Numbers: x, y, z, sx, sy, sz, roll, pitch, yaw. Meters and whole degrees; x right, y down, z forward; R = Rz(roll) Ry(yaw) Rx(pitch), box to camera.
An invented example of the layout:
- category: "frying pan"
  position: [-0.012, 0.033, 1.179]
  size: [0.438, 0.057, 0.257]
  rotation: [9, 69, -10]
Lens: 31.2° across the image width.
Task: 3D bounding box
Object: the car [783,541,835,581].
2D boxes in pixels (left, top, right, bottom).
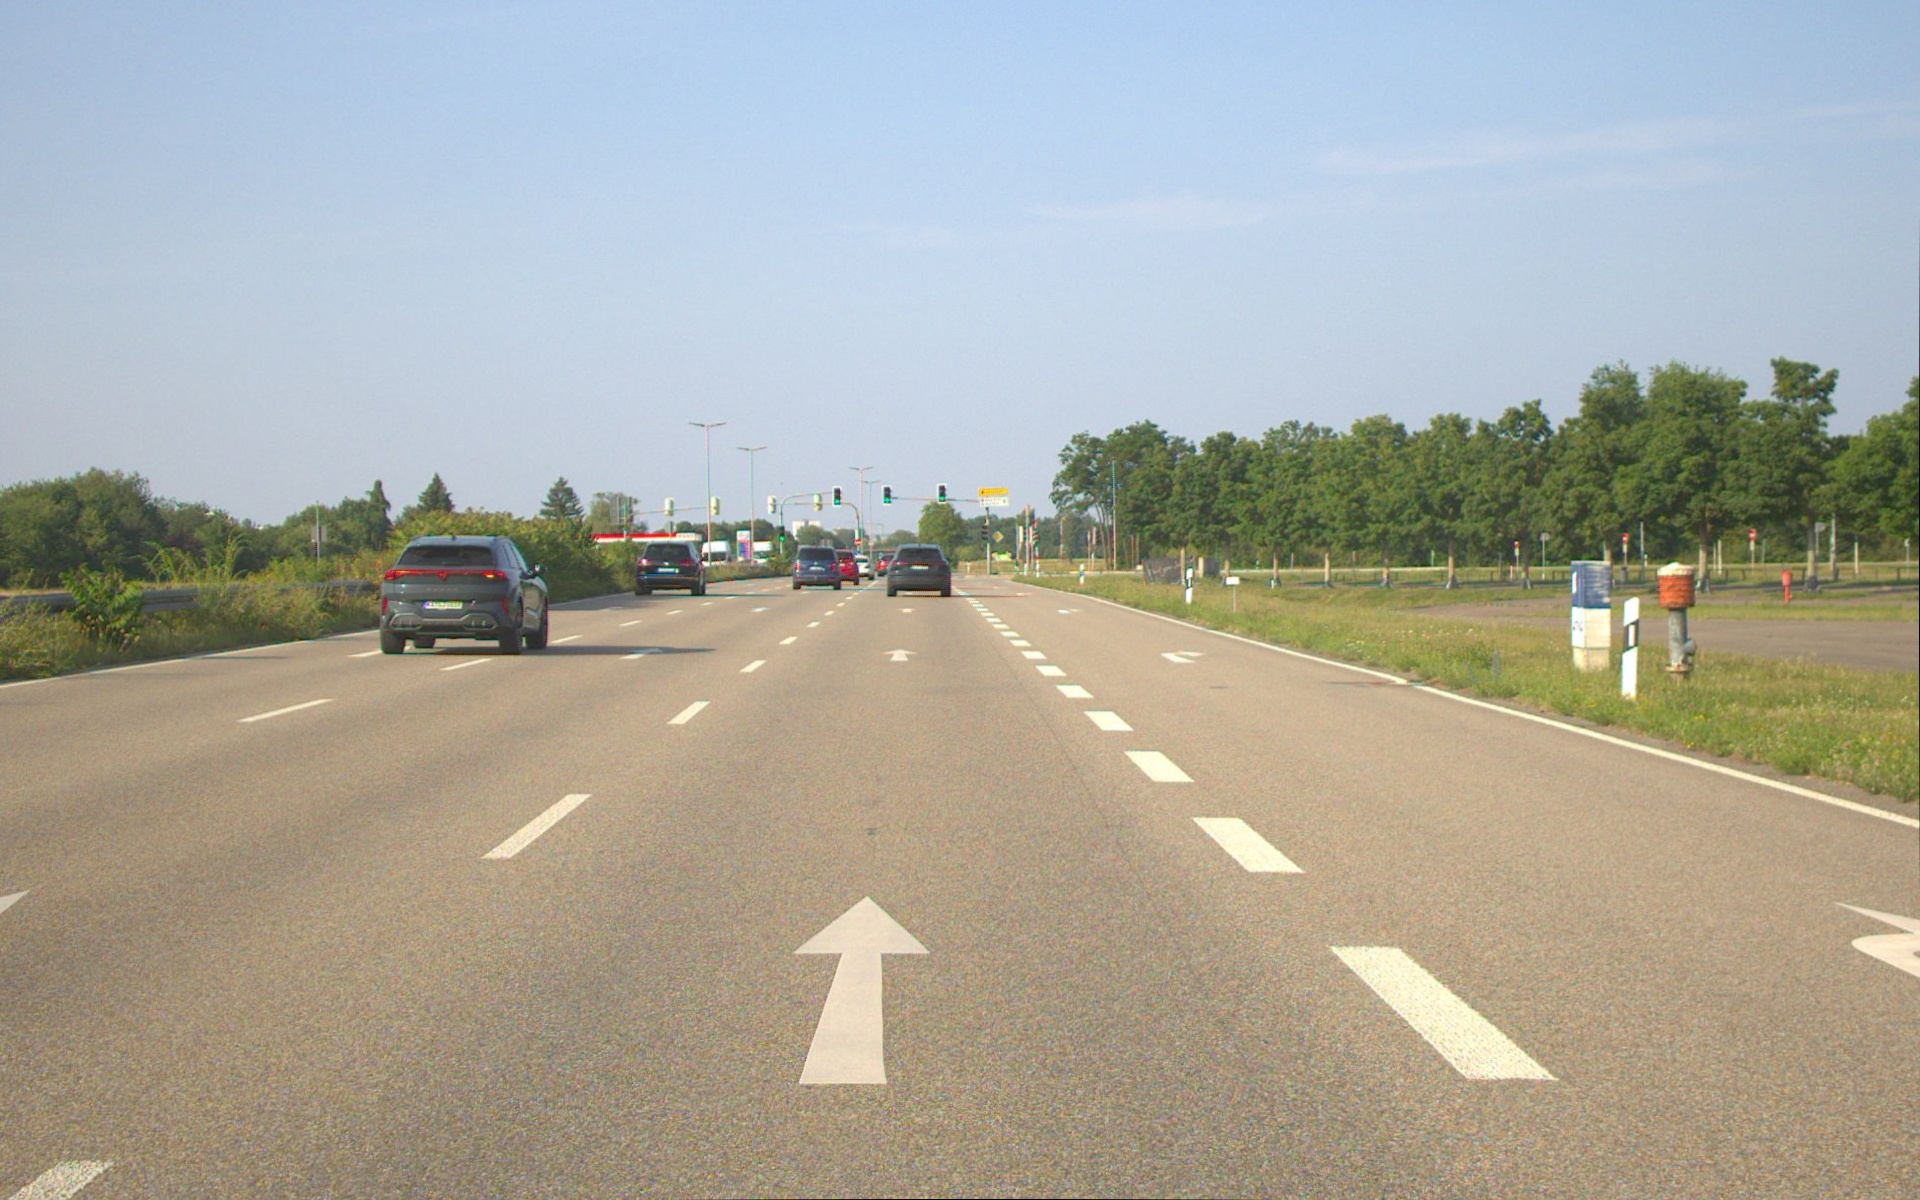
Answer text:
- category: "car"
  position: [-5.720, -1.493, 131.006]
  size: [1.812, 1.458, 4.401]
  rotation: [2, 1, -1]

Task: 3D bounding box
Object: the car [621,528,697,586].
- category: "car"
  position: [-9.201, -1.331, 105.358]
  size: [1.932, 1.674, 4.401]
  rotation: [2, 1, -1]

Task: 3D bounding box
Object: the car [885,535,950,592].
- category: "car"
  position: [-1.319, -1.158, 106.560]
  size: [1.932, 1.674, 4.401]
  rotation: [2, 1, -1]

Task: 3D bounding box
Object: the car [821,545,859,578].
- category: "car"
  position: [-5.467, -1.756, 156.919]
  size: [1.647, 1.458, 3.981]
  rotation: [2, 1, -1]

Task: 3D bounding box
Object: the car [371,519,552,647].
- category: "car"
  position: [-6.730, -0.258, 46.835]
  size: [1.845, 1.606, 4.401]
  rotation: [2, 1, -1]

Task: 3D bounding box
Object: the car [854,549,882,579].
- category: "car"
  position: [-5.395, -2.097, 201.772]
  size: [1.645, 1.722, 3.401]
  rotation: [1, 0, -1]
